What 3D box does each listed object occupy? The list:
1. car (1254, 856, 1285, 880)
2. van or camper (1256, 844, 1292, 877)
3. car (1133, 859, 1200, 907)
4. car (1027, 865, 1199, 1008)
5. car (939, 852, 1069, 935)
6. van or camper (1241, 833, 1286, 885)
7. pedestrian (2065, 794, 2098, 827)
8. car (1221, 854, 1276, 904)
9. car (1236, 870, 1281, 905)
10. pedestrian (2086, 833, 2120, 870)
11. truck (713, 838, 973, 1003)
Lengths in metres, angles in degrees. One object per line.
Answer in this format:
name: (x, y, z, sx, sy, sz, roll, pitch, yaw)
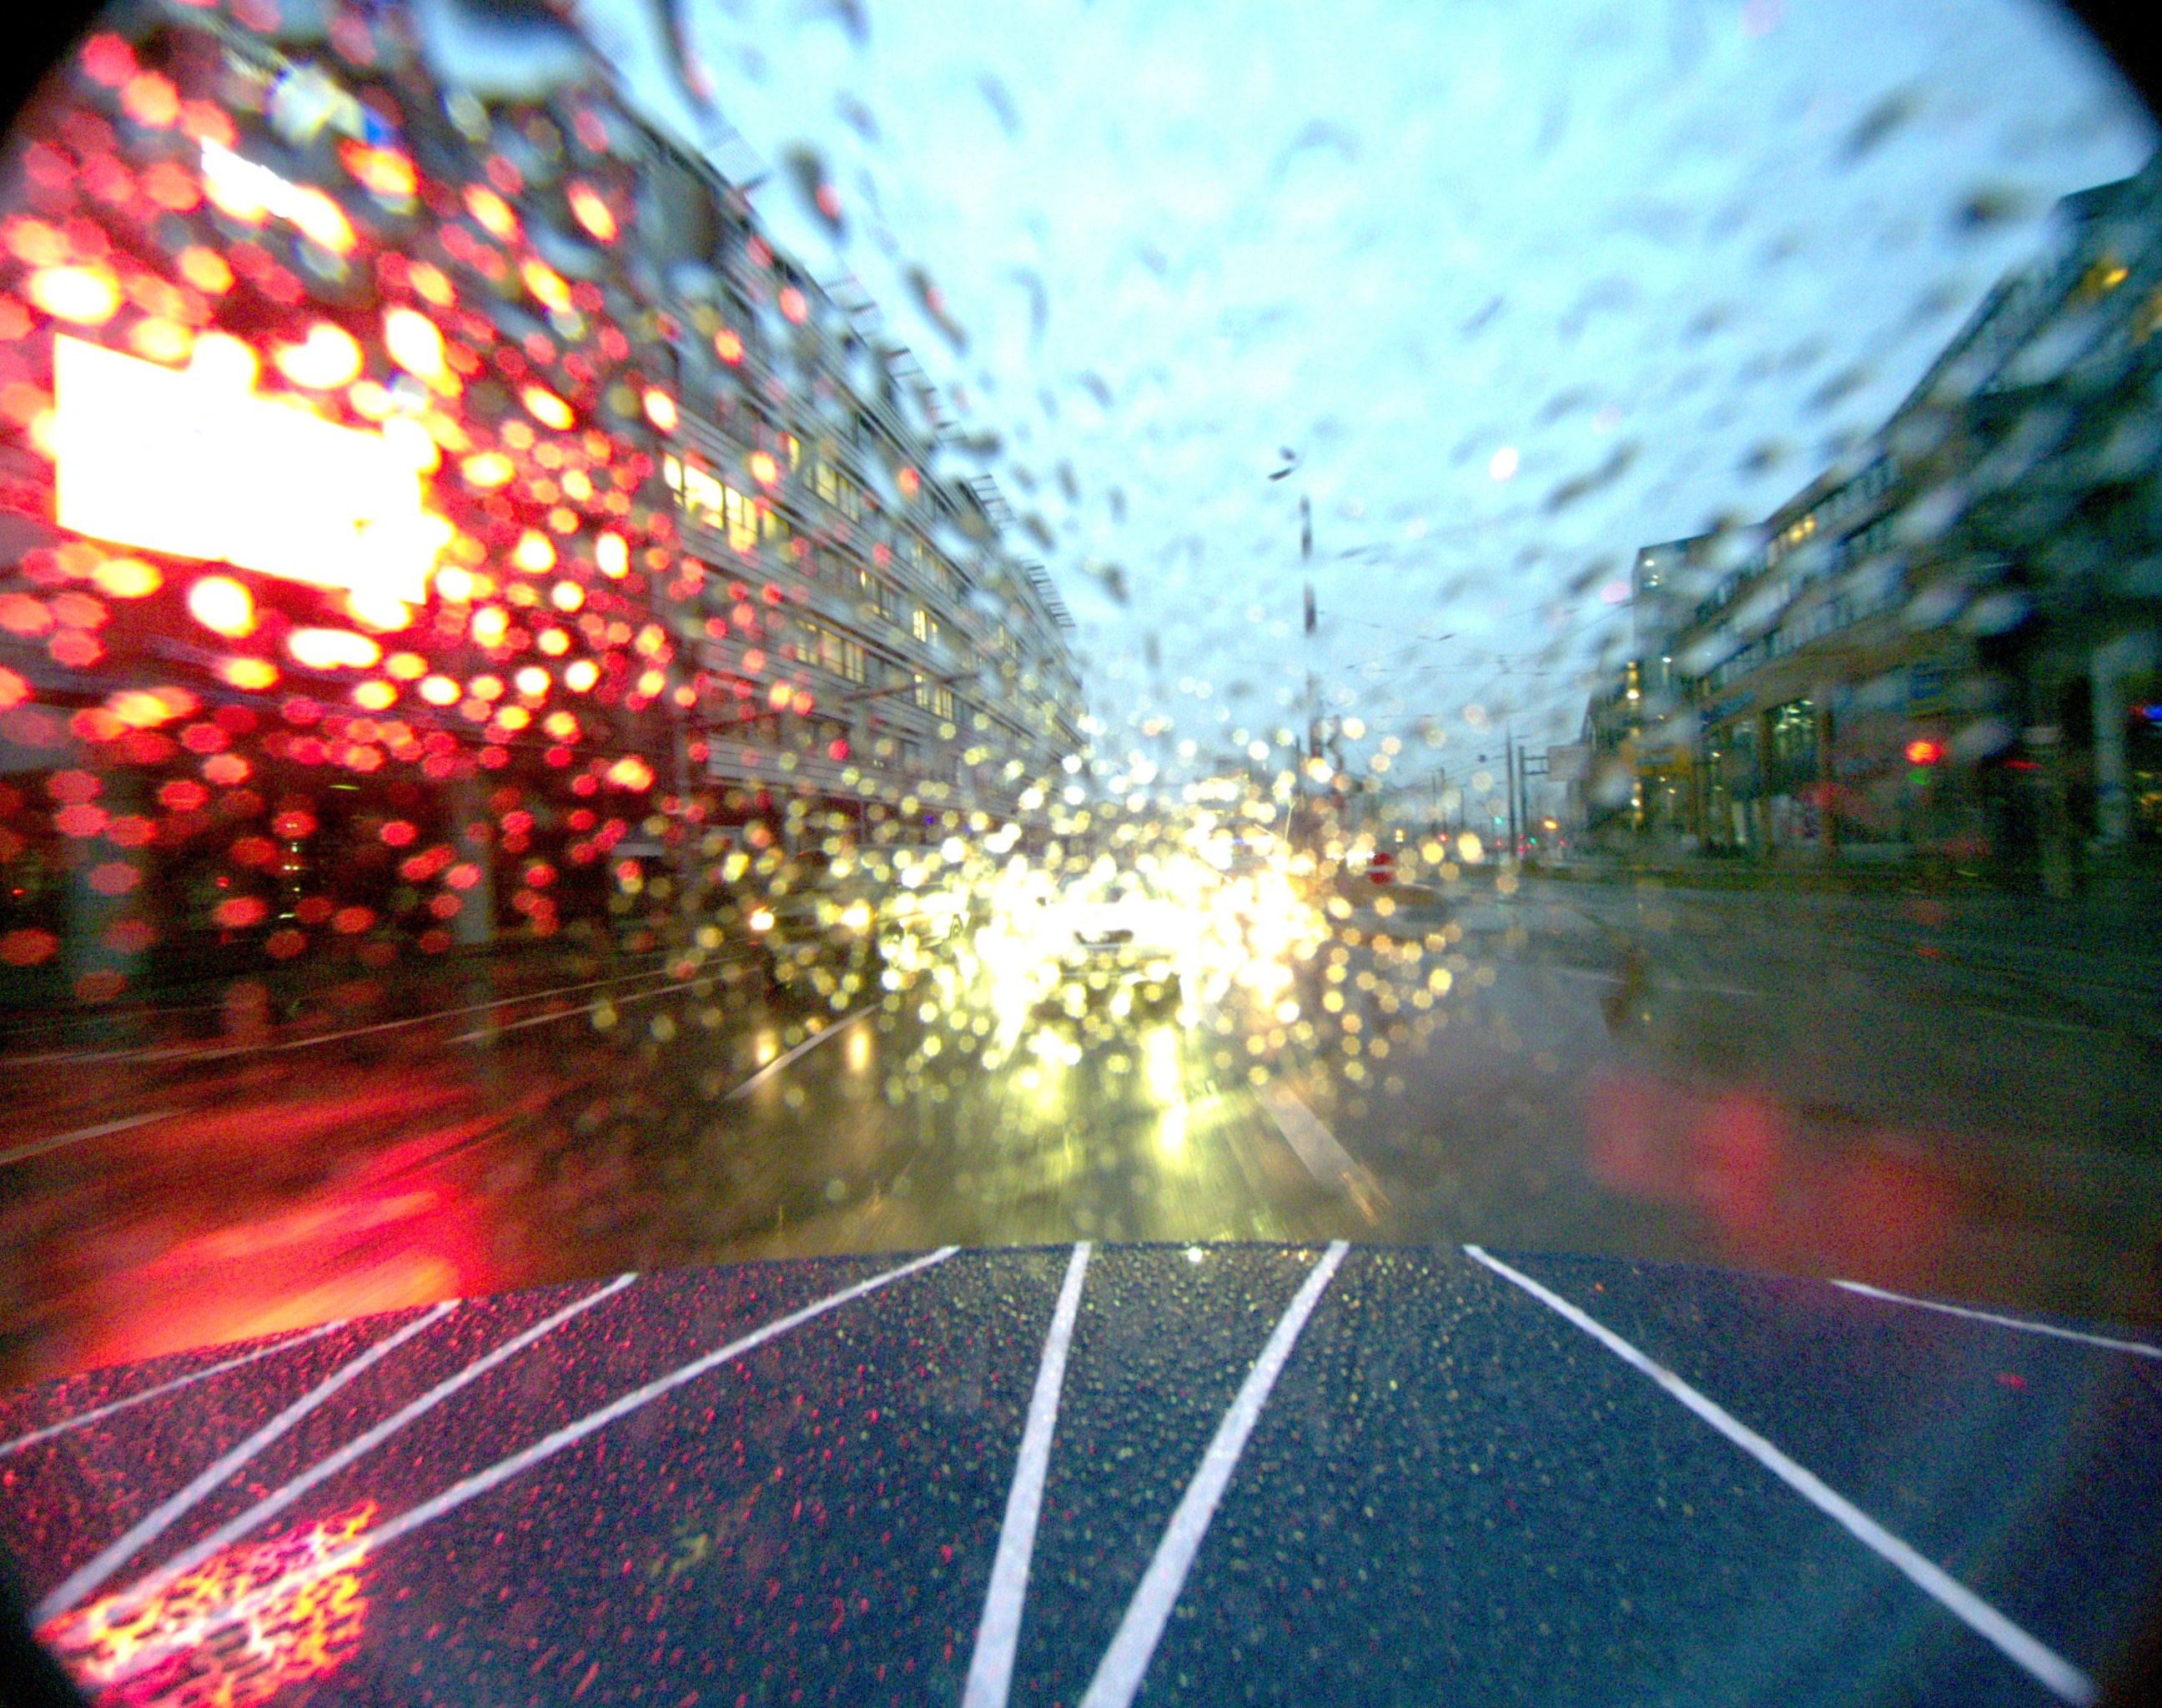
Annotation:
car: (12.379, 0.903, 49.718, 1.823, 1.390, 3.957, -4, -1, 15)
van or camper: (15.367, 0.489, 60.266, 2.183, 2.338, 5.657, -4, -1, 18)
car: (3.040, 0.950, 26.279, 1.772, 1.449, 4.226, -2, 0, 13)
car: (0.453, 0.937, 10.359, 1.773, 1.449, 4.223, -4, -1, 3)
car: (-1.844, 0.943, 19.979, 1.908, 1.808, 4.694, -4, -1, 13)
van or camper: (10.134, 0.240, 41.795, 2.059, 2.532, 5.892, -4, -1, 15)
pedestrian: (46.357, -2.003, 35.214, 0.651, 1.494, 0.695, -2, 0, 23)
car: (5.949, 0.830, 26.743, 1.682, 1.563, 3.765, -2, -1, 15)
car: (8.148, 1.485, 34.631, 1.823, 1.324, 4.230, -4, -1, 15)
pedestrian: (35.391, -0.077, 26.316, 0.445, 1.257, 0.496, -4, 0, 9)
truck: (-3.257, 0.858, 11.569, 1.908, 1.905, 4.620, -4, -1, 7)
